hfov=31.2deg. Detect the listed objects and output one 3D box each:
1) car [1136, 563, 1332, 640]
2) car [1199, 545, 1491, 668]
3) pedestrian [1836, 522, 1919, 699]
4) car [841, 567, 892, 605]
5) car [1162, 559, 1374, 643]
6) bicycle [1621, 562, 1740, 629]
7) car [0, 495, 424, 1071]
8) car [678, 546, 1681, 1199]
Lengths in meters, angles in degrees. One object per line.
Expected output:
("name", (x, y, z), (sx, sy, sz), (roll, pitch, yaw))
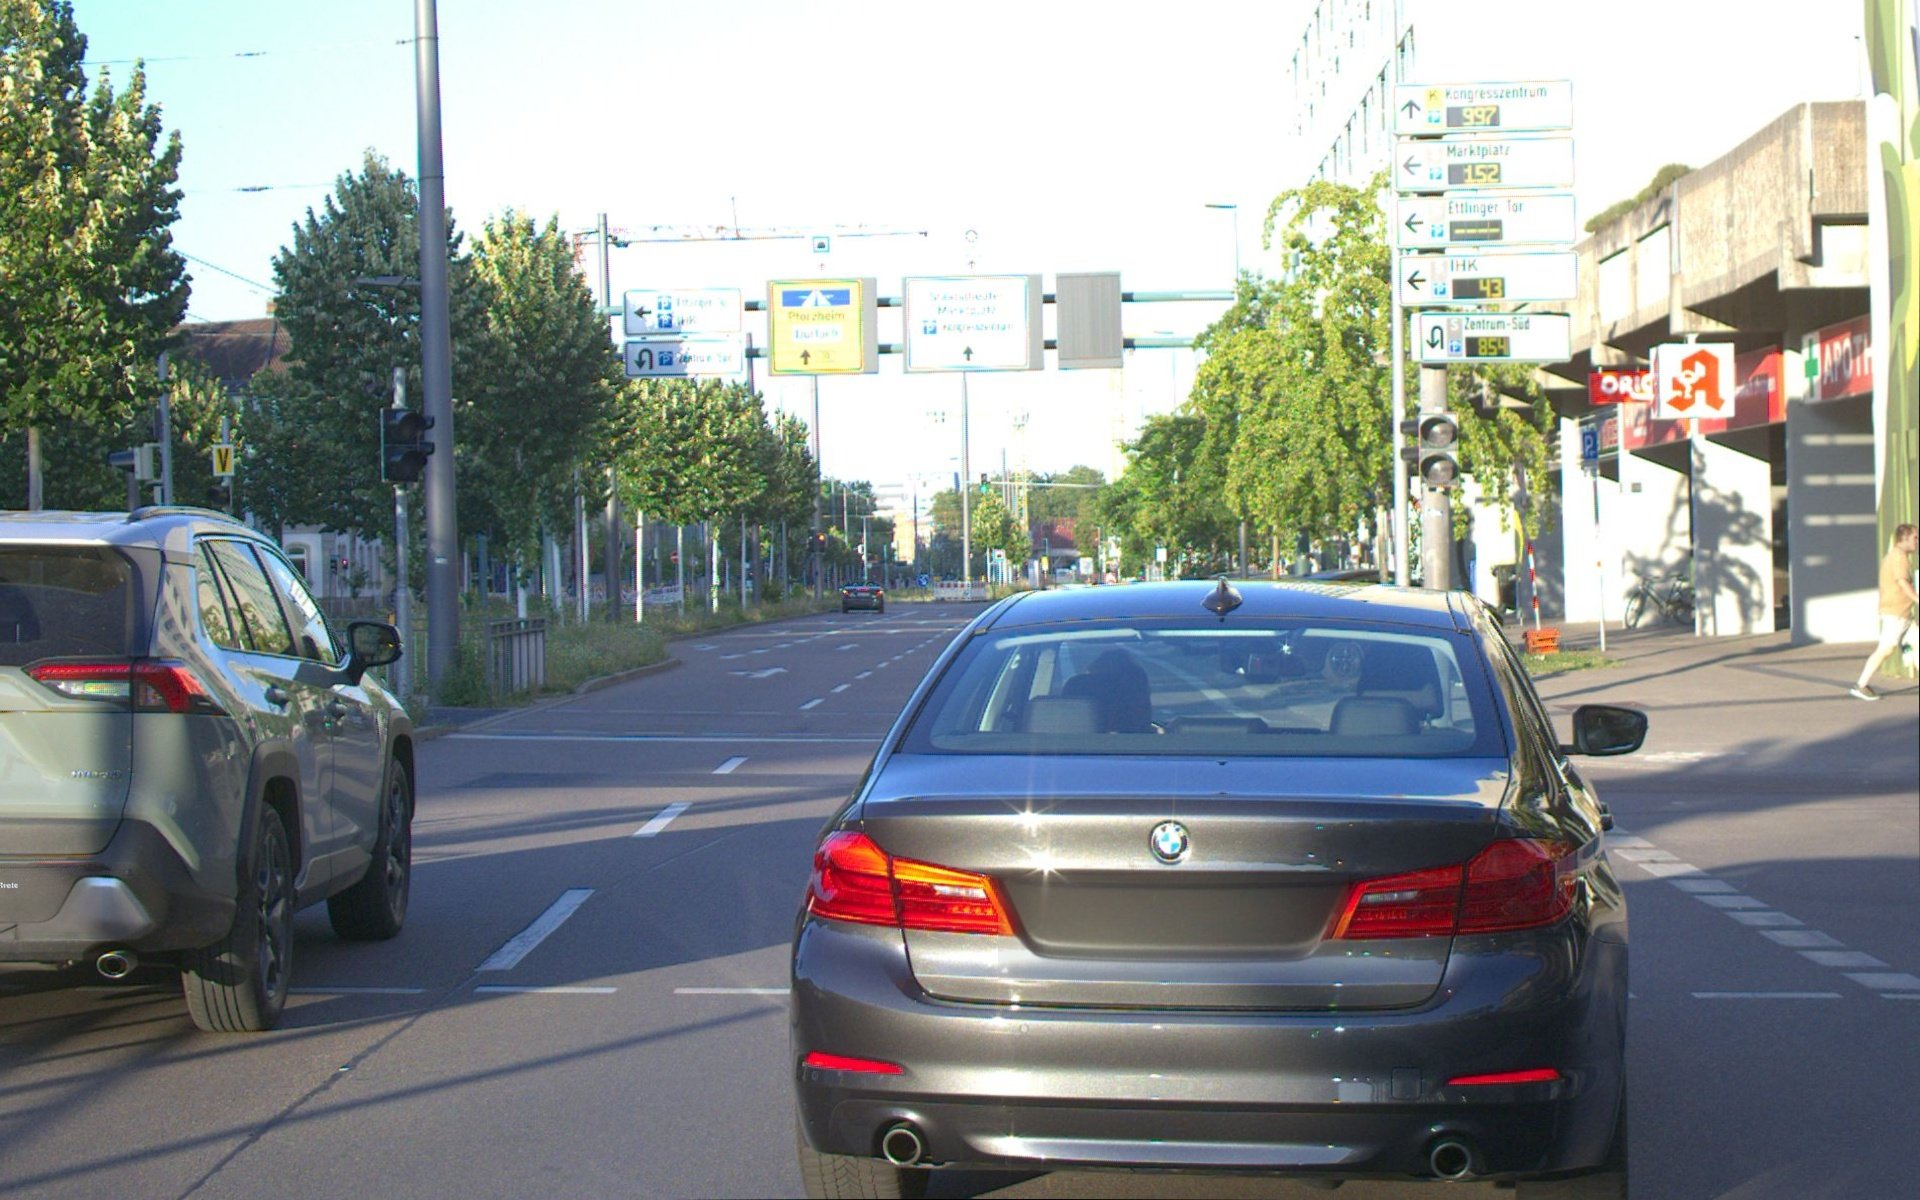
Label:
("car", (6.267, 0.004, 78.422), (4.255, 1.653, 1.860), (-1, 2, -35))
("car", (5.599, 0.055, 49.761), (4.256, 1.653, 1.860), (-1, 2, -43))
("pedestrian", (9.124, 0.096, 33.746), (0.835, 1.706, 0.648), (-1, 0, -1))
("car", (-3.788, -0.588, 140.081), (1.979, 1.428, 4.843), (0, 2, -1))
("car", (6.469, -0.005, 72.091), (4.255, 1.653, 1.860), (-1, 2, -36))
("bicycle", (13.045, -0.074, 62.249), (2.017, 1.145, 0.690), (2, -1, 6))
("car", (-3.110, 0.460, 11.993), (1.854, 1.653, 4.269), (0, 2, -1))
("car", (0.712, 0.636, 8.884), (1.932, 1.476, 4.521), (0, 2, 8))
